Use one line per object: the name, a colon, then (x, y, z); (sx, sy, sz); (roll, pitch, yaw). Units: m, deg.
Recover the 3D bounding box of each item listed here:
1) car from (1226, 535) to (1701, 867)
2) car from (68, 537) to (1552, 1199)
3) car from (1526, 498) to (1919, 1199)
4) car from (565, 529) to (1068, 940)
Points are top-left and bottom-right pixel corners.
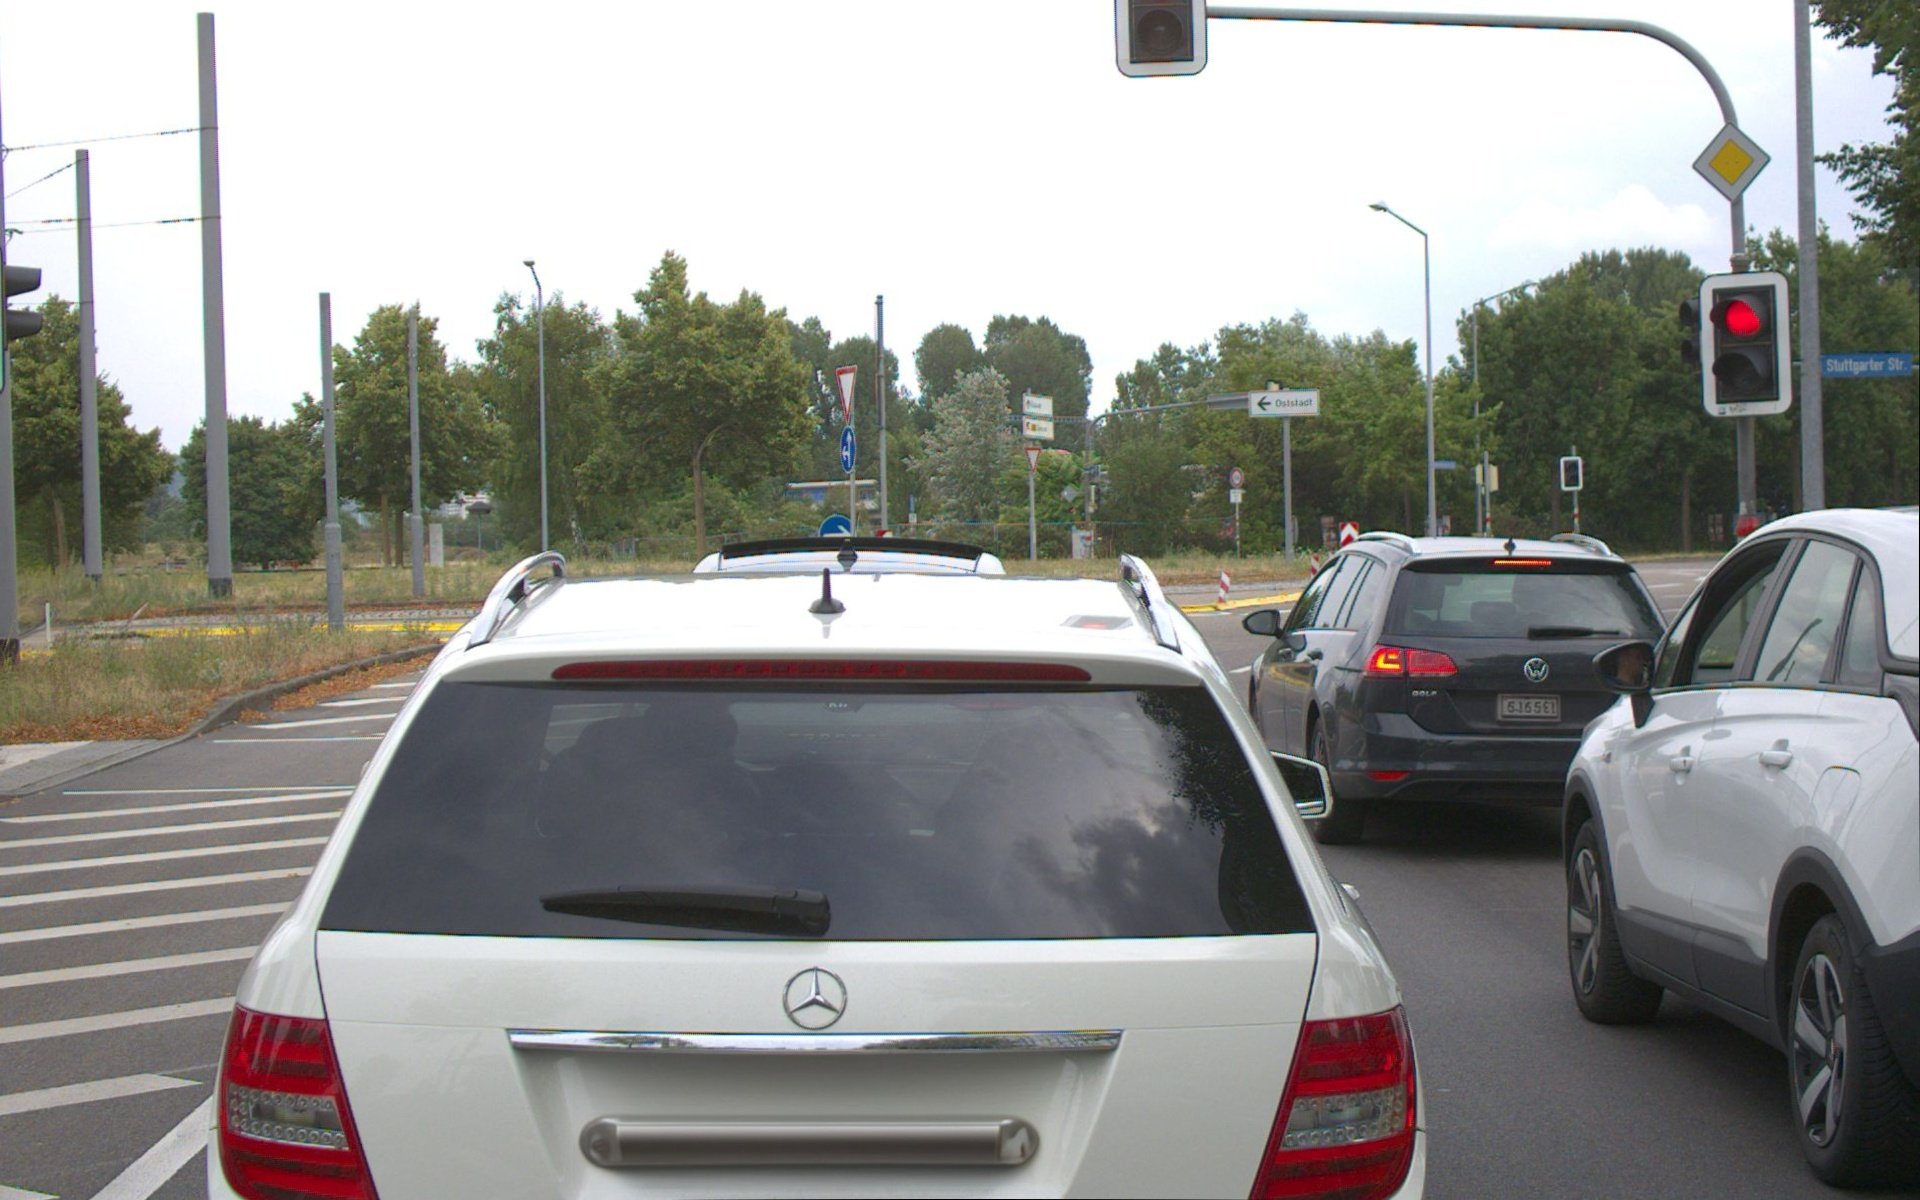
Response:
car: (2.378, 0.411, 17.147); (1.624, 1.443, 3.911); (0, 1, -2)
car: (-0.262, 0.626, 6.083); (1.773, 1.443, 3.911); (0, 1, -2)
car: (2.743, 0.540, 9.114); (1.787, 1.619, 3.911); (-1, 1, 0)
car: (-0.594, 0.440, 14.154); (1.773, 1.443, 3.911); (0, 1, -2)
